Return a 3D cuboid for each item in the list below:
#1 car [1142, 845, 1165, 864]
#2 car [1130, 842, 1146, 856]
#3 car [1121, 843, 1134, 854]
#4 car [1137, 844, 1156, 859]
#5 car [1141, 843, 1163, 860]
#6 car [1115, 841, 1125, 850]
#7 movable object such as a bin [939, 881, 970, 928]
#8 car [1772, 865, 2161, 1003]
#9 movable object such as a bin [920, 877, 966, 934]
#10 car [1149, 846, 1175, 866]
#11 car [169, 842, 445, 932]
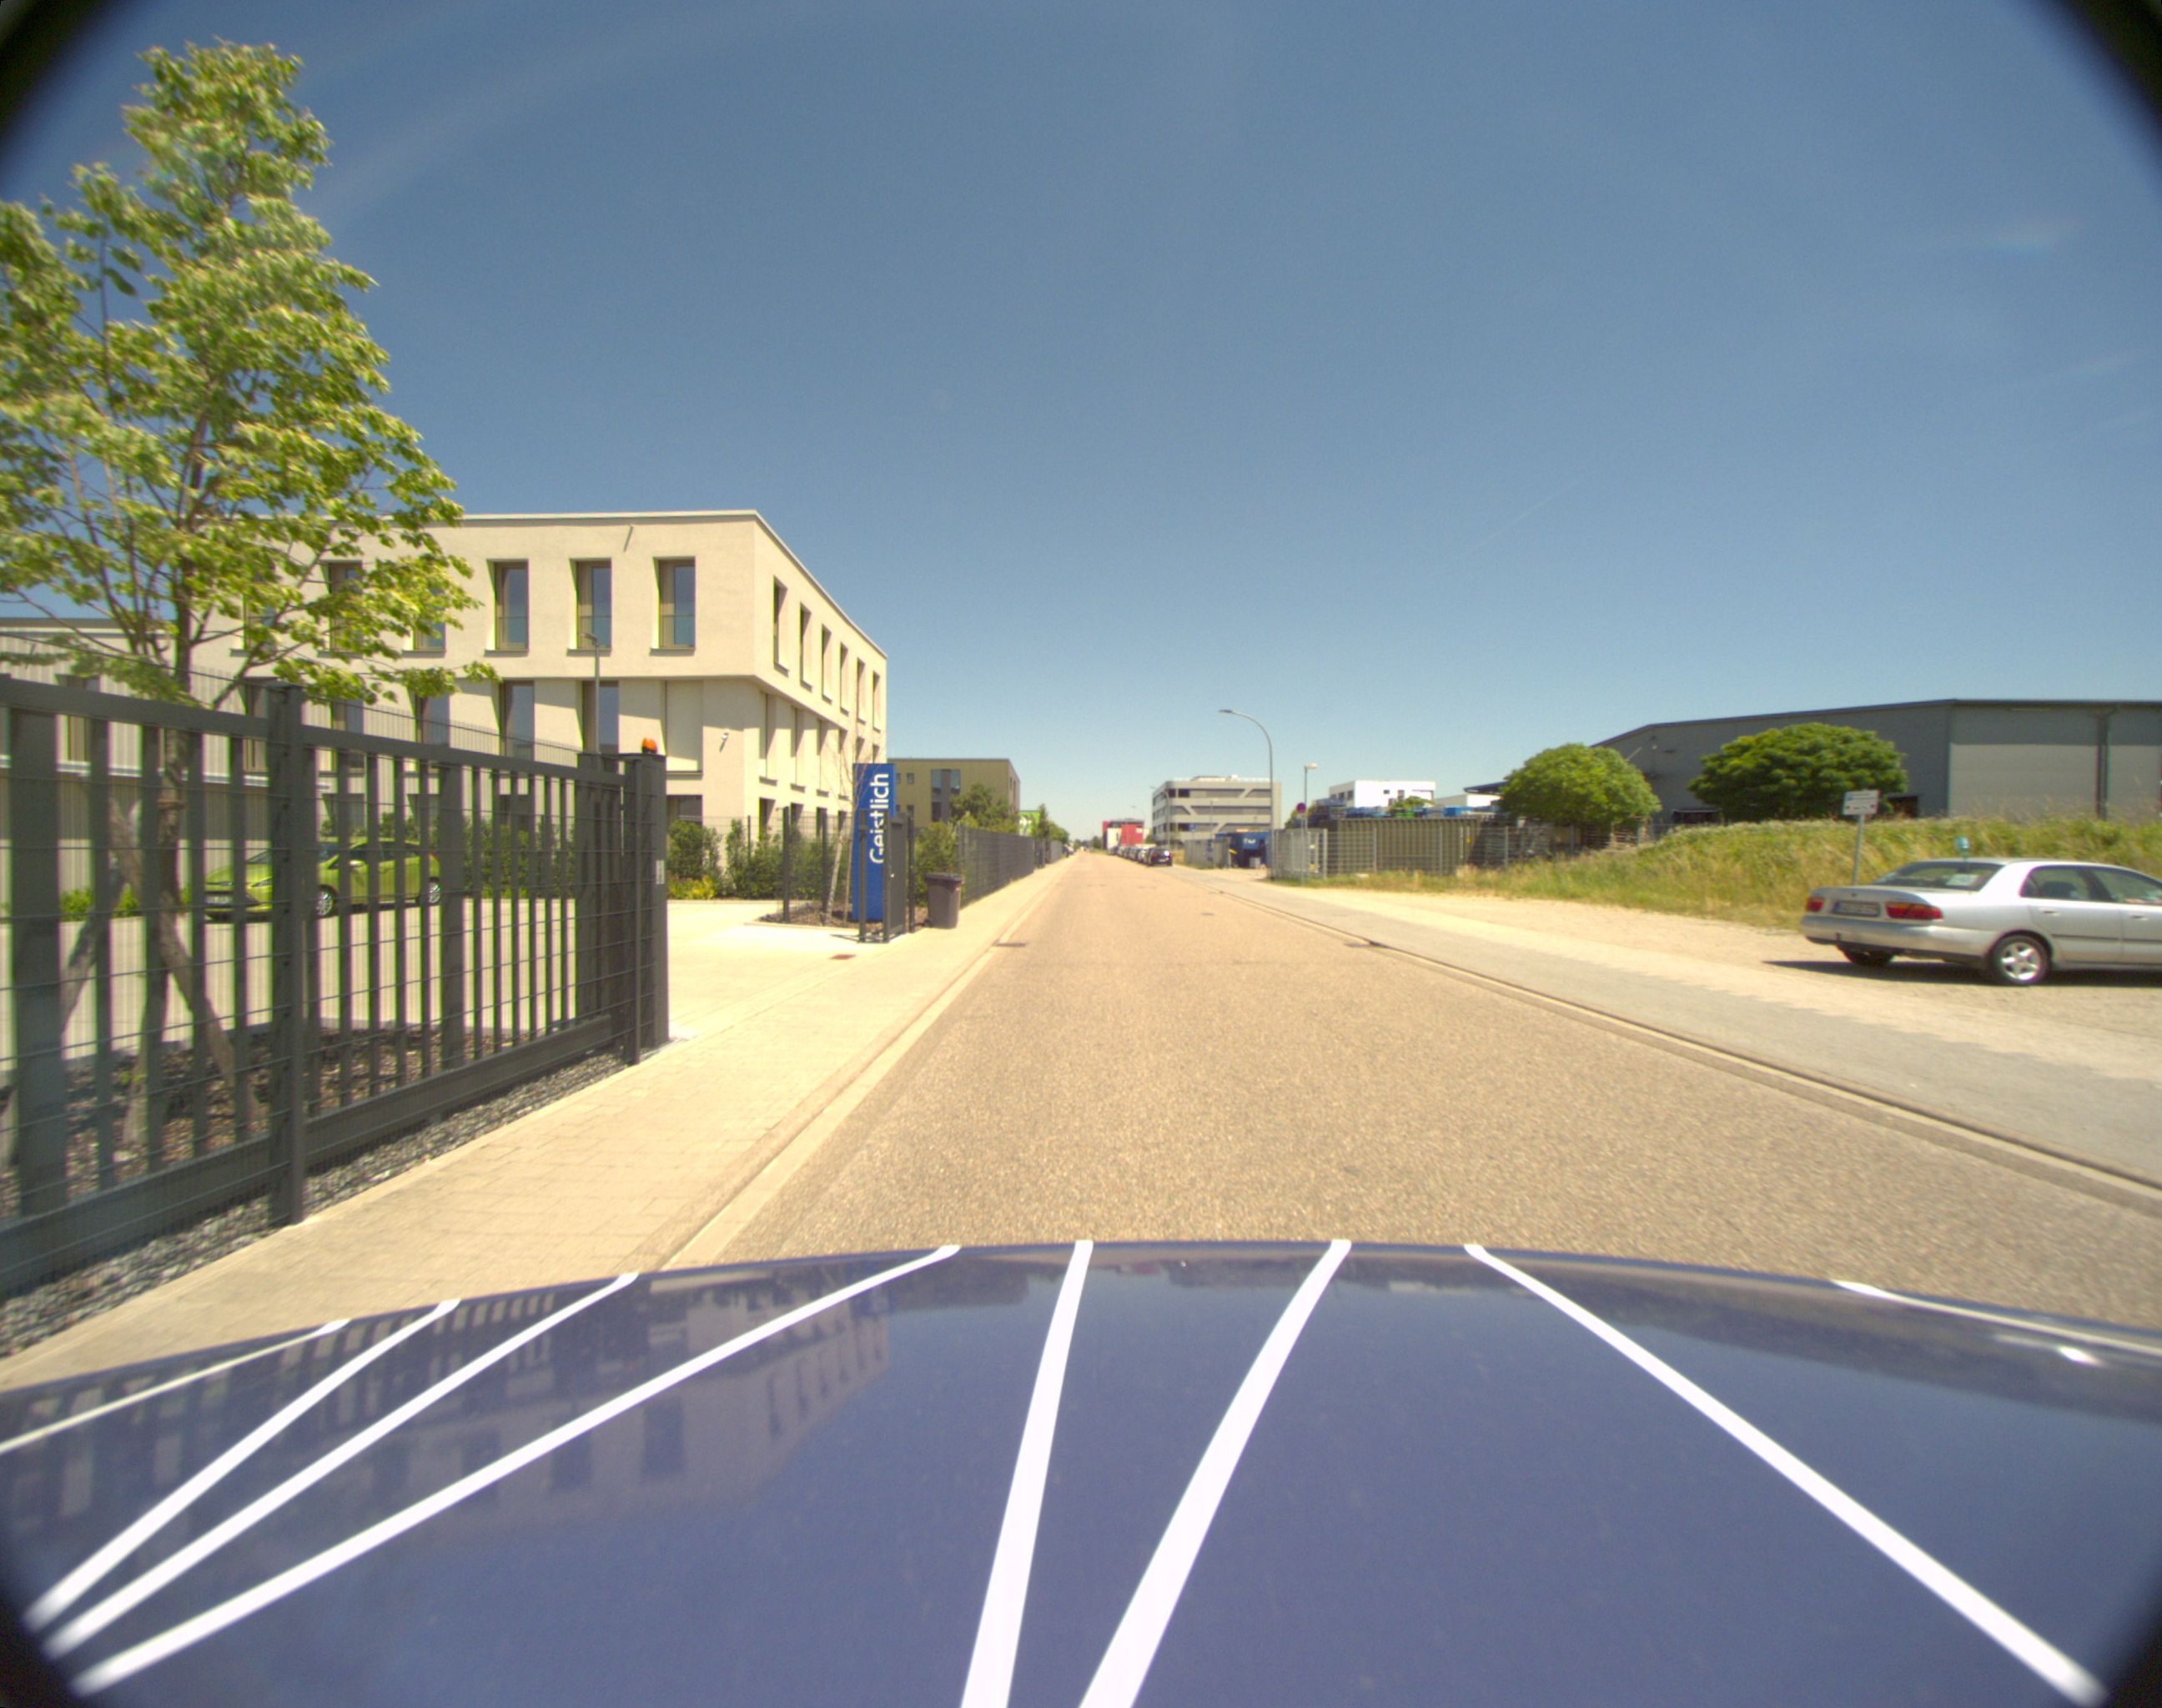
[{"bbox_3d":[6.448,0.031,67.898,1.772,1.521,3.777,-2,1,1],"label":"car"},{"bbox_3d":[6.932,-0.645,92.821,1.659,1.573,3.777,-2,1,1],"label":"car"},{"bbox_3d":[7.339,-0.862,119.501,1.772,1.521,3.777,-2,1,1],"label":"car"},{"bbox_3d":[6.997,-0.303,81.672,1.772,1.462,3.777,-3,1,1],"label":"car"},{"bbox_3d":[6.797,-0.303,73.262,1.772,1.521,3.777,-2,1,1],"label":"car"},{"bbox_3d":[7.330,-1.582,144.072,1.772,1.521,3.777,-2,1,1],"label":"car"},{"bbox_3d":[-2.599,1.026,15.584,0.525,0.920,0.554,1,2,1],"label":"movable object such as a bin"},{"bbox_3d":[11.102,0.858,8.884,4.257,1.371,1.862,0,1,2],"label":"car"},{"bbox_3d":[-2.658,0.984,14.680,0.749,1.042,0.698,1,2,1],"label":"movable object such as a bin"},{"bbox_3d":[6.555,0.151,61.915,1.695,1.482,3.660,-2,1,1],"label":"car"},{"bbox_3d":[-14.250,0.517,14.326,1.614,1.456,3.599,-1,1,-4],"label":"car"}]
